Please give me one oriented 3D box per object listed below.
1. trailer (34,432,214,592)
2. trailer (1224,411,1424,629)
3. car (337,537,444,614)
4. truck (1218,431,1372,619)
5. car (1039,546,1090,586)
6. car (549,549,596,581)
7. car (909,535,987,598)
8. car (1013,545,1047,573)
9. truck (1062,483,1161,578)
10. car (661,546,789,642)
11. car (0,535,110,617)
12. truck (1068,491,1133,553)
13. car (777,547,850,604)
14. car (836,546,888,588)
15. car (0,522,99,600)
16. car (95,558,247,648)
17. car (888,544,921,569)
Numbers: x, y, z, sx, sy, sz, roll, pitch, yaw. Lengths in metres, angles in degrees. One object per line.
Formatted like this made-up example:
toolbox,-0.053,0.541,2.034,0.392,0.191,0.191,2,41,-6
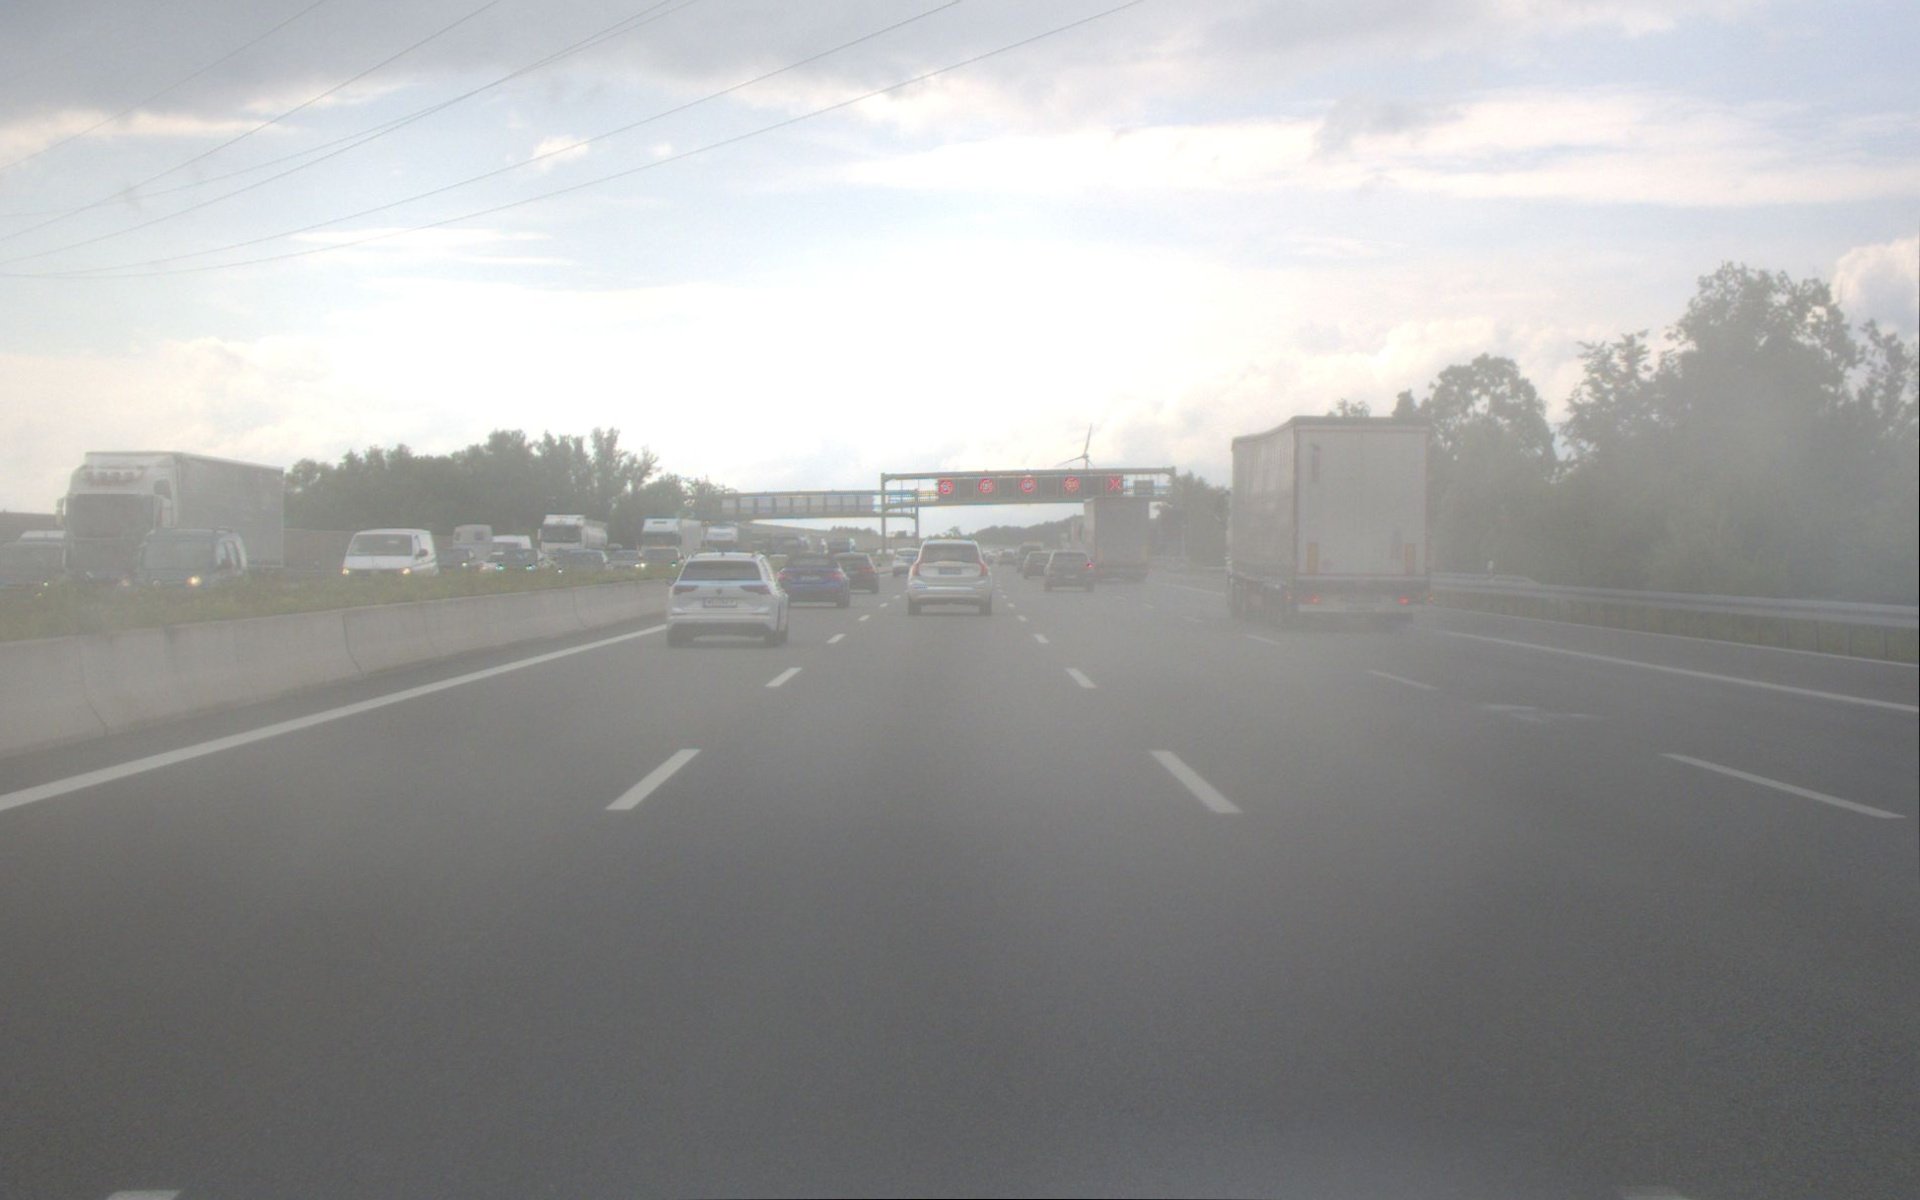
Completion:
trailer,-22.043,-2.280,90.981,3.319,4.030,6.079,1,1,-1
trailer,7.251,-1.586,70.472,2.961,4.006,14.118,0,1,2
car,-14.645,-0.654,88.669,1.922,1.893,5.161,1,1,-1
truck,7.412,-1.660,76.868,2.961,4.006,6.588,0,1,2
car,3.870,-1.280,127.872,1.836,1.436,4.055,0,1,1
car,-18.069,-1.646,160.396,1.765,1.449,4.234,1,1,-1
car,-0.294,-0.801,80.614,1.772,1.436,4.055,0,1,-1
car,3.779,-2.224,185.435,1.836,1.436,4.055,0,1,1
truck,7.190,-3.289,164.867,4.180,4.273,12.613,1,1,0
car,-3.653,-0.118,53.990,1.772,1.436,3.874,0,1,0
car,-18.166,-0.493,67.410,1.765,1.531,5.161,1,1,-1
truck,9.837,-5.460,242.620,4.244,4.162,11.989,1,1,1
car,-3.804,-0.651,89.900,1.772,1.436,4.055,0,1,-1
car,-3.448,-1.166,121.263,1.772,1.436,4.056,0,1,-1
car,-26.813,-1.147,100.034,2.116,2.186,5.798,1,1,-1
car,-14.233,0.024,62.228,1.765,1.531,4.483,1,1,-1
car,-3.165,-2.510,197.950,1.772,1.436,4.055,0,1,1
